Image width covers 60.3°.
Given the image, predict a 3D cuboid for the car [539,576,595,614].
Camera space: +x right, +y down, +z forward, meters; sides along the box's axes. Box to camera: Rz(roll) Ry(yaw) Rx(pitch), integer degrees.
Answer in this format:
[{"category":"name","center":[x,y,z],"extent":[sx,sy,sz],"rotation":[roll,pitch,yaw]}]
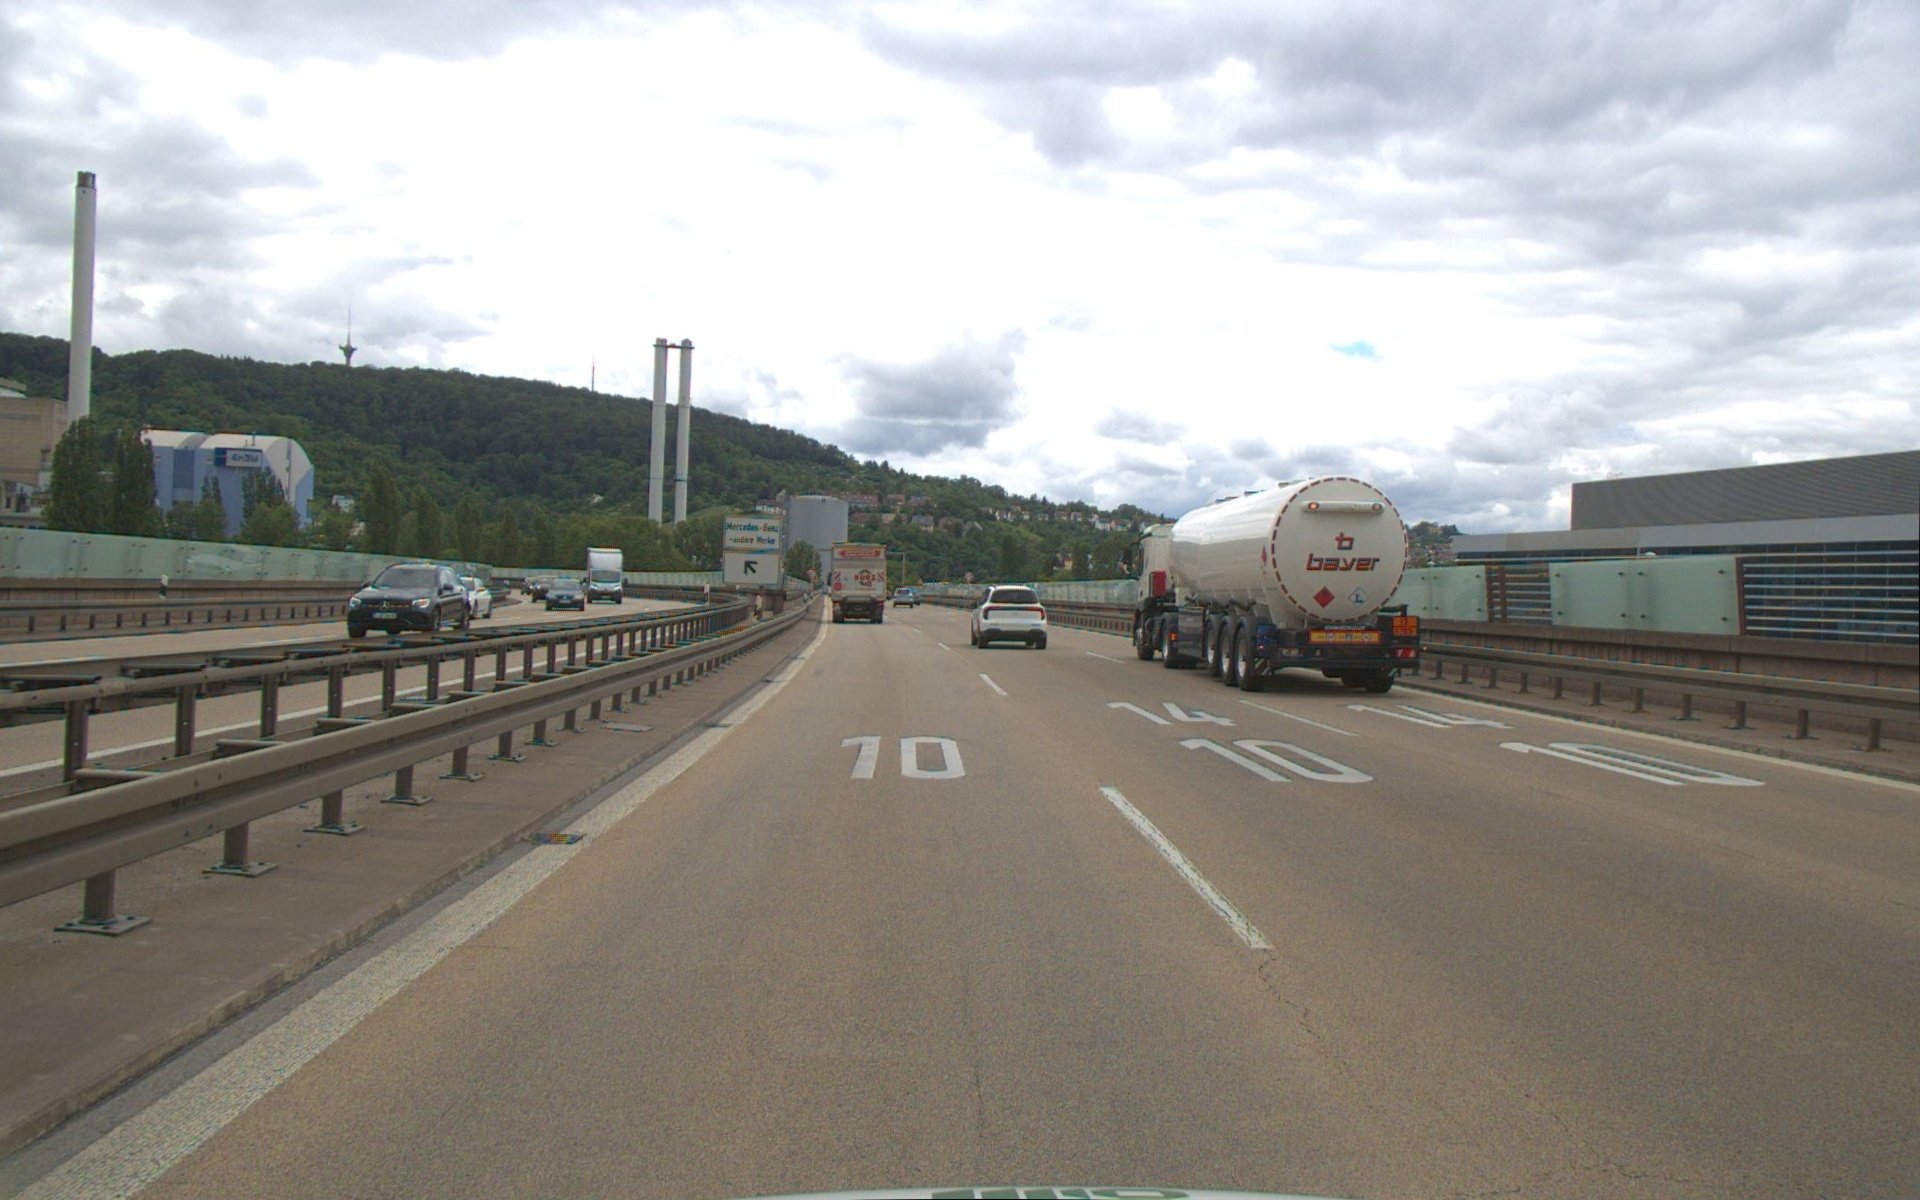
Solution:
[{"category":"car","center":[-18.396,-0.236,77.553],"extent":[1.955,1.704,4.402],"rotation":[1,0,-6]}]

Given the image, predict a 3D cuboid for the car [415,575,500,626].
[{"category":"car","center":[-17.621,0.034,58.150],"extent":[1.955,1.704,4.403],"rotation":[1,0,-5]}]

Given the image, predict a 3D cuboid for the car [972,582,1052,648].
[{"category":"car","center":[1.378,0.401,45.700],"extent":[1.953,1.704,4.407],"rotation":[1,0,-1]}]

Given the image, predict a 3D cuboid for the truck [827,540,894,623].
[{"category":"truck","center":[-4.798,-0.821,79.245],"extent":[2.997,3.755,8.297],"rotation":[1,0,-4]}]

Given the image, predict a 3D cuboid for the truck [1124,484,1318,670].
[{"category":"truck","center":[5.613,-0.450,36.700],"extent":[2.954,3.721,6.269],"rotation":[1,0,-3]}]

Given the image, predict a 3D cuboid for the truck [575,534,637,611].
[{"category":"truck","center":[-22.176,-1.651,104.079],"extent":[2.999,4.642,8.291],"rotation":[1,0,-7]}]

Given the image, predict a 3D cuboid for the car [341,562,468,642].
[{"category":"car","center":[-12.559,0.050,37.669],"extent":[1.956,1.704,4.399],"rotation":[1,0,-9]}]

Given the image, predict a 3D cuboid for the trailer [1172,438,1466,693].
[{"category":"trailer","center":[6.041,-0.515,29.458],"extent":[2.996,3.856,8.298],"rotation":[1,0,-3]}]
